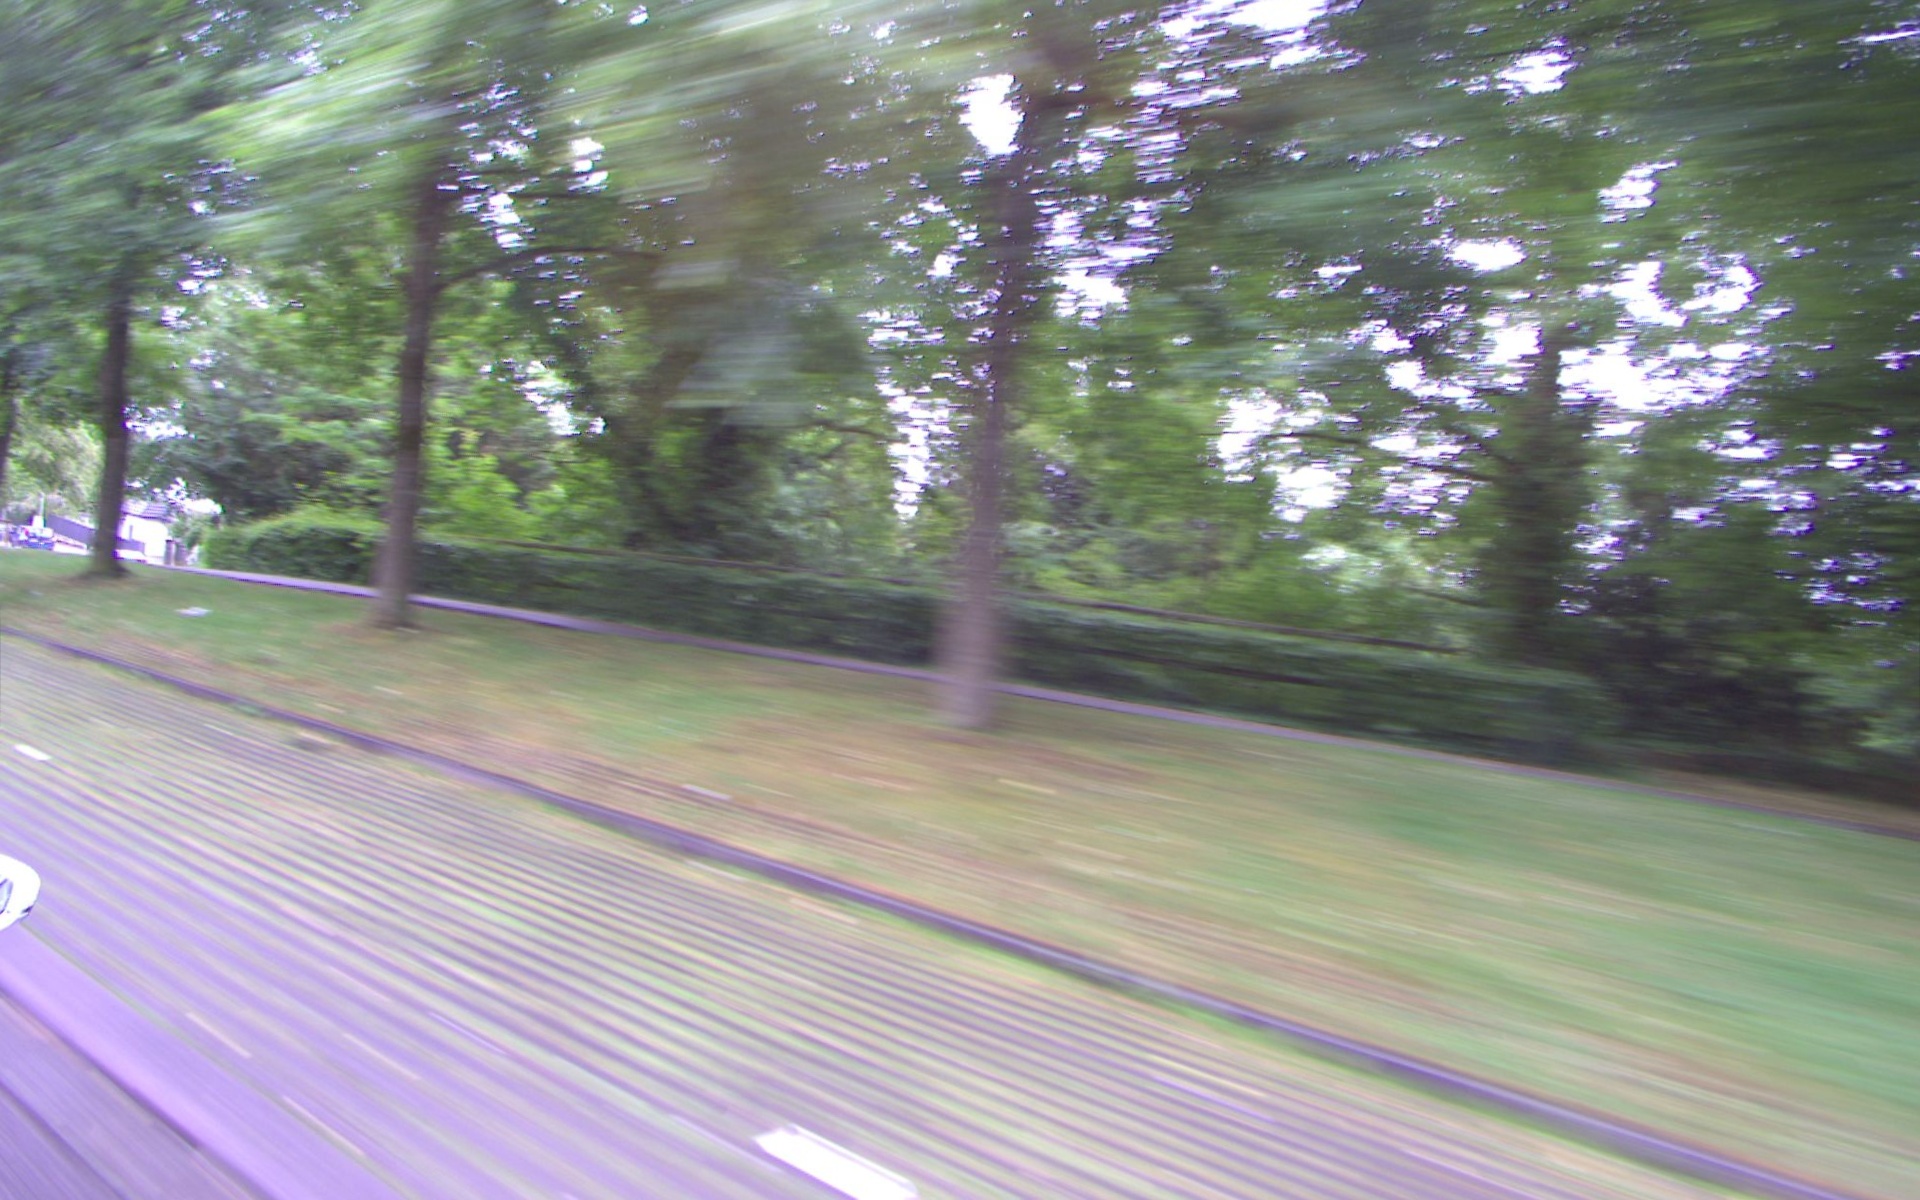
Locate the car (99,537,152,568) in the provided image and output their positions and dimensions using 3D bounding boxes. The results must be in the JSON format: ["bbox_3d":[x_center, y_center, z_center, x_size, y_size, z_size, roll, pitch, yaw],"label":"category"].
[{"bbox_3d":[-53.178,-3.029,64.083,3.943,1.650,1.806,4,-1,39],"label":"car"}]

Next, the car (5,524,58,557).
[{"bbox_3d":[-71.792,-4.589,77.787,3.934,2.040,1.994,8,2,32],"label":"car"}]

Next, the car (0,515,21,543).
[{"bbox_3d":[-81.520,-6.114,85.091,3.934,2.040,1.994,8,2,32],"label":"car"}]
